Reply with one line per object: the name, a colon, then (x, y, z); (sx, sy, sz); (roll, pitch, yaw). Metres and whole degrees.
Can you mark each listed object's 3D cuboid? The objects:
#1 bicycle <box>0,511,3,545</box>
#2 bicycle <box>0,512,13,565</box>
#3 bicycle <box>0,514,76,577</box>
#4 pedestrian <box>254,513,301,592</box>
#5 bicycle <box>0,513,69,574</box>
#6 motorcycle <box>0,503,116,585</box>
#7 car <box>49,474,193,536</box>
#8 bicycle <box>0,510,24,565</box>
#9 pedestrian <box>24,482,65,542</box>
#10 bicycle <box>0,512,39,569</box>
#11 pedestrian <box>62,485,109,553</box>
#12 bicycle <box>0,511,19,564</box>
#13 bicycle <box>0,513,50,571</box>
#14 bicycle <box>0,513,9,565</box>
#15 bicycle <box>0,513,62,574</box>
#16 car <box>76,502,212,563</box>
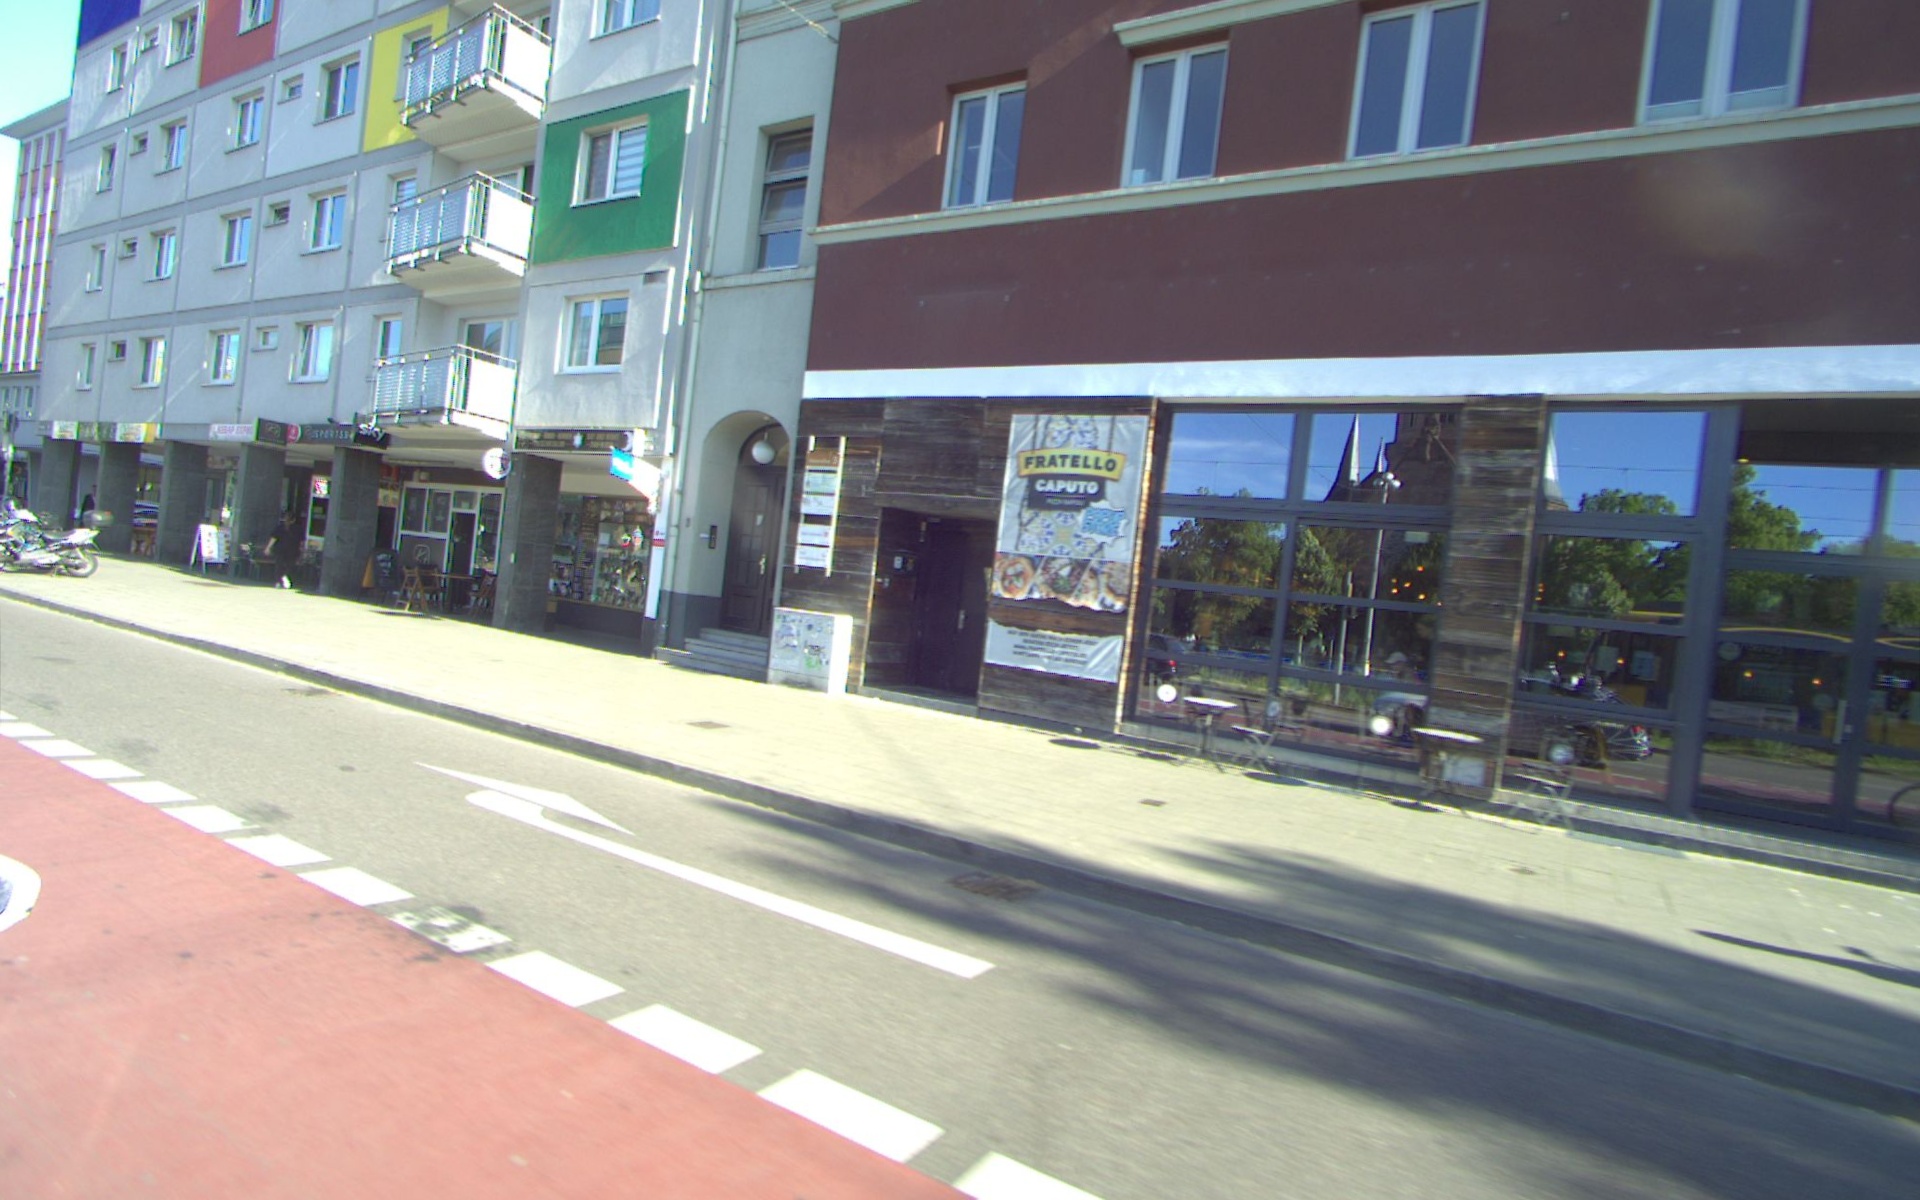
bicycle: (-21.152, -1.427, 21.111); (0.253, 1.080, 1.466); (6, 0, 33)
bicycle: (-20.578, -1.343, 20.738); (0.253, 1.080, 1.466); (6, 0, 33)
bicycle: (-17.893, -1.049, 19.189); (0.253, 1.080, 1.466); (6, 0, 33)
pedestrian: (-14.510, -1.004, 21.394); (0.565, 1.603, 0.555); (7, 2, 31)
bicycle: (-18.197, -1.101, 19.386); (0.253, 1.080, 1.466); (6, 0, 33)
motorcycle: (-16.762, -1.025, 18.413); (0.642, 1.317, 1.855); (6, 1, 34)
car: (-40.402, -4.528, 48.572); (2.222, 2.036, 4.738); (6, -2, 32)
bicycle: (-19.955, -1.327, 20.327); (0.253, 1.080, 1.466); (6, 0, 33)
pedestrian: (-33.337, -3.198, 36.625); (0.875, 2.037, 0.901); (8, -2, -44)
bicycle: (-19.291, -1.231, 19.937); (0.253, 1.080, 1.466); (6, 0, 33)
pedestrian: (-28.174, -2.595, 32.414); (0.877, 2.037, 0.843); (6, -1, 41)
bicycle: (-20.291, -1.339, 20.556); (0.253, 1.080, 1.466); (6, 0, 33)
bicycle: (-18.948, -1.180, 19.808); (0.253, 1.080, 1.466); (6, 0, 33)
bicycle: (-20.837, -1.349, 20.924); (0.253, 1.080, 1.466); (6, 0, 33)
bicycle: (-18.512, -1.123, 19.584); (0.253, 1.080, 1.466); (6, 0, 33)
car: (-37.792, -3.090, 46.704); (1.940, 2.036, 4.370); (6, -2, 32)
